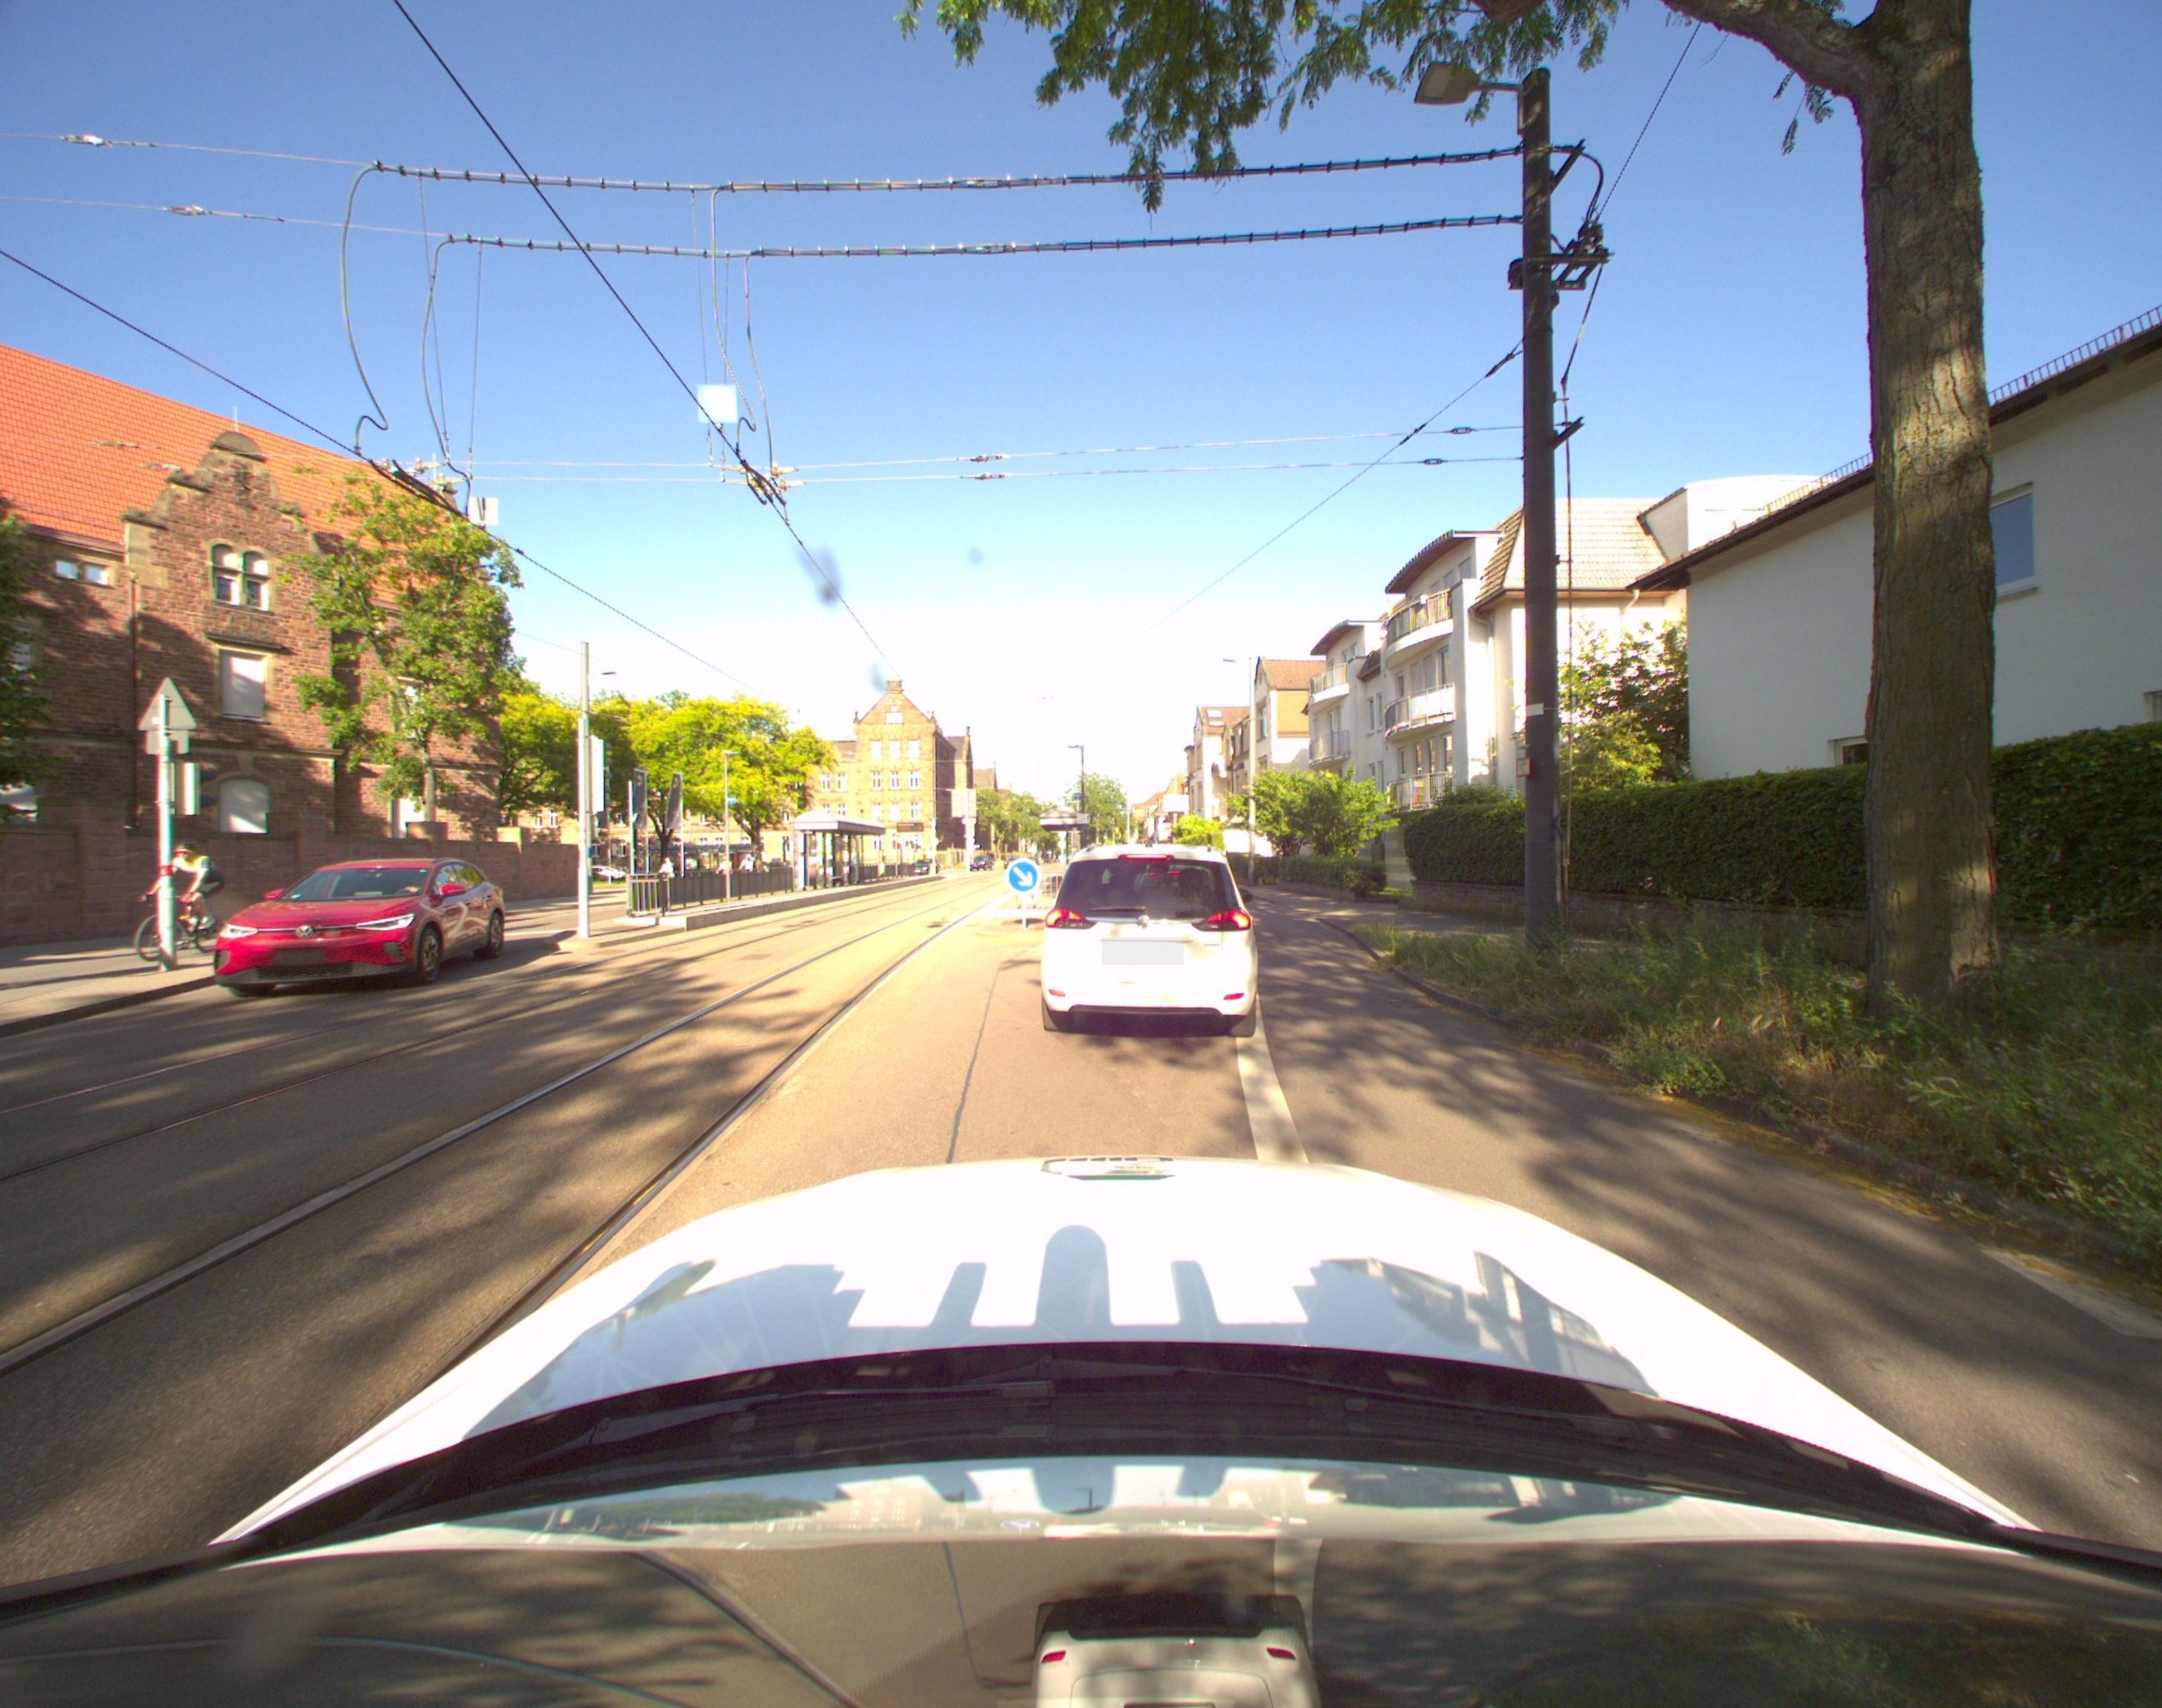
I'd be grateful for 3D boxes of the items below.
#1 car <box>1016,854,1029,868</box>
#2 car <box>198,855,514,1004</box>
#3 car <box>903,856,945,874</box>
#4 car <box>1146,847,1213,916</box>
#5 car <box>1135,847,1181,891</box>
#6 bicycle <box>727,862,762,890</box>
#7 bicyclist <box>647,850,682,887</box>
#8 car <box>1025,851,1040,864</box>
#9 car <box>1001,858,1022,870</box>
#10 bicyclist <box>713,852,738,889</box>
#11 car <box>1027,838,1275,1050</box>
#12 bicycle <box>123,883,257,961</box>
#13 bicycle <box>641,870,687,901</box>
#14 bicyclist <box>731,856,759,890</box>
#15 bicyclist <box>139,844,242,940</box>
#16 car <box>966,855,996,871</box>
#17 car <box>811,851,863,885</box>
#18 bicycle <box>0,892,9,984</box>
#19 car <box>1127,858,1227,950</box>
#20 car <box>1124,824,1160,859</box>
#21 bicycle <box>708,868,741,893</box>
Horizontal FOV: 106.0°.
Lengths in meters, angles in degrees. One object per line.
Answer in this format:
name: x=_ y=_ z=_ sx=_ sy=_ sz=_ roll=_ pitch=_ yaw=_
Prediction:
car: x=-8.153 y=0.979 z=113.400 sx=1.823 sy=1.788 sz=4.321 roll=-1 pitch=-1 yaw=-4
car: x=-9.628 y=0.844 z=11.326 sx=1.824 sy=1.607 sz=4.328 roll=-1 pitch=0 yaw=-21
car: x=-13.345 y=0.941 z=69.504 sx=1.786 sy=1.382 sz=4.510 roll=-1 pitch=0 yaw=12
car: x=2.561 y=0.645 z=21.100 sx=1.560 sy=1.614 sz=3.792 roll=1 pitch=0 yaw=7
car: x=3.018 y=0.580 z=32.626 sx=1.590 sy=1.635 sz=3.903 roll=1 pitch=0 yaw=2
bicycle: x=-15.804 y=1.006 z=38.331 sx=0.774 sy=1.231 sz=2.088 roll=-1 pitch=0 yaw=0
bicyclist: x=-16.679 y=0.579 z=32.627 sx=0.754 sy=1.471 sz=1.190 roll=0 pitch=-1 yaw=1
car: x=-8.045 y=0.603 z=134.358 sx=1.985 sy=2.013 sz=4.003 roll=-1 pitch=0 yaw=3
car: x=-8.407 y=1.240 z=99.130 sx=1.818 sy=1.446 sz=4.333 roll=-1 pitch=-1 yaw=5
bicyclist: x=-16.734 y=0.750 z=38.343 sx=0.648 sy=1.674 sz=1.233 roll=0 pitch=1 yaw=0
car: x=0.779 y=0.670 z=8.186 sx=1.868 sy=1.585 sz=4.008 roll=0 pitch=0 yaw=7
bicycle: x=-14.213 y=1.041 z=13.067 sx=0.687 sy=1.089 sz=1.842 roll=-1 pitch=0 yaw=-21
bicycle: x=-16.674 y=1.239 z=32.616 sx=0.812 sy=1.198 sz=1.953 roll=0 pitch=0 yaw=1
bicyclist: x=-15.808 y=0.888 z=38.321 sx=0.758 sy=1.536 sz=1.348 roll=-1 pitch=0 yaw=0
bicyclist: x=-14.205 y=0.576 z=13.033 sx=0.655 sy=1.459 sz=1.144 roll=-1 pitch=0 yaw=-21
car: x=-10.508 y=0.995 z=85.973 sx=1.815 sy=1.617 sz=4.341 roll=-1 pitch=-1 yaw=11
car: x=-13.772 y=0.777 z=46.133 sx=1.823 sy=1.788 sz=4.250 roll=-1 pitch=0 yaw=-3
bicycle: x=-12.811 y=0.994 z=8.676 sx=0.687 sy=1.089 sz=2.049 roll=-1 pitch=0 yaw=-21
car: x=1.773 y=0.804 z=14.862 sx=1.560 sy=1.401 sz=3.792 roll=1 pitch=0 yaw=7
car: x=2.963 y=-0.624 z=40.242 sx=1.590 sy=1.634 sz=3.903 roll=1 pitch=1 yaw=2
bicycle: x=-16.742 y=1.232 z=38.289 sx=0.667 sy=1.072 sz=2.014 roll=0 pitch=0 yaw=0
